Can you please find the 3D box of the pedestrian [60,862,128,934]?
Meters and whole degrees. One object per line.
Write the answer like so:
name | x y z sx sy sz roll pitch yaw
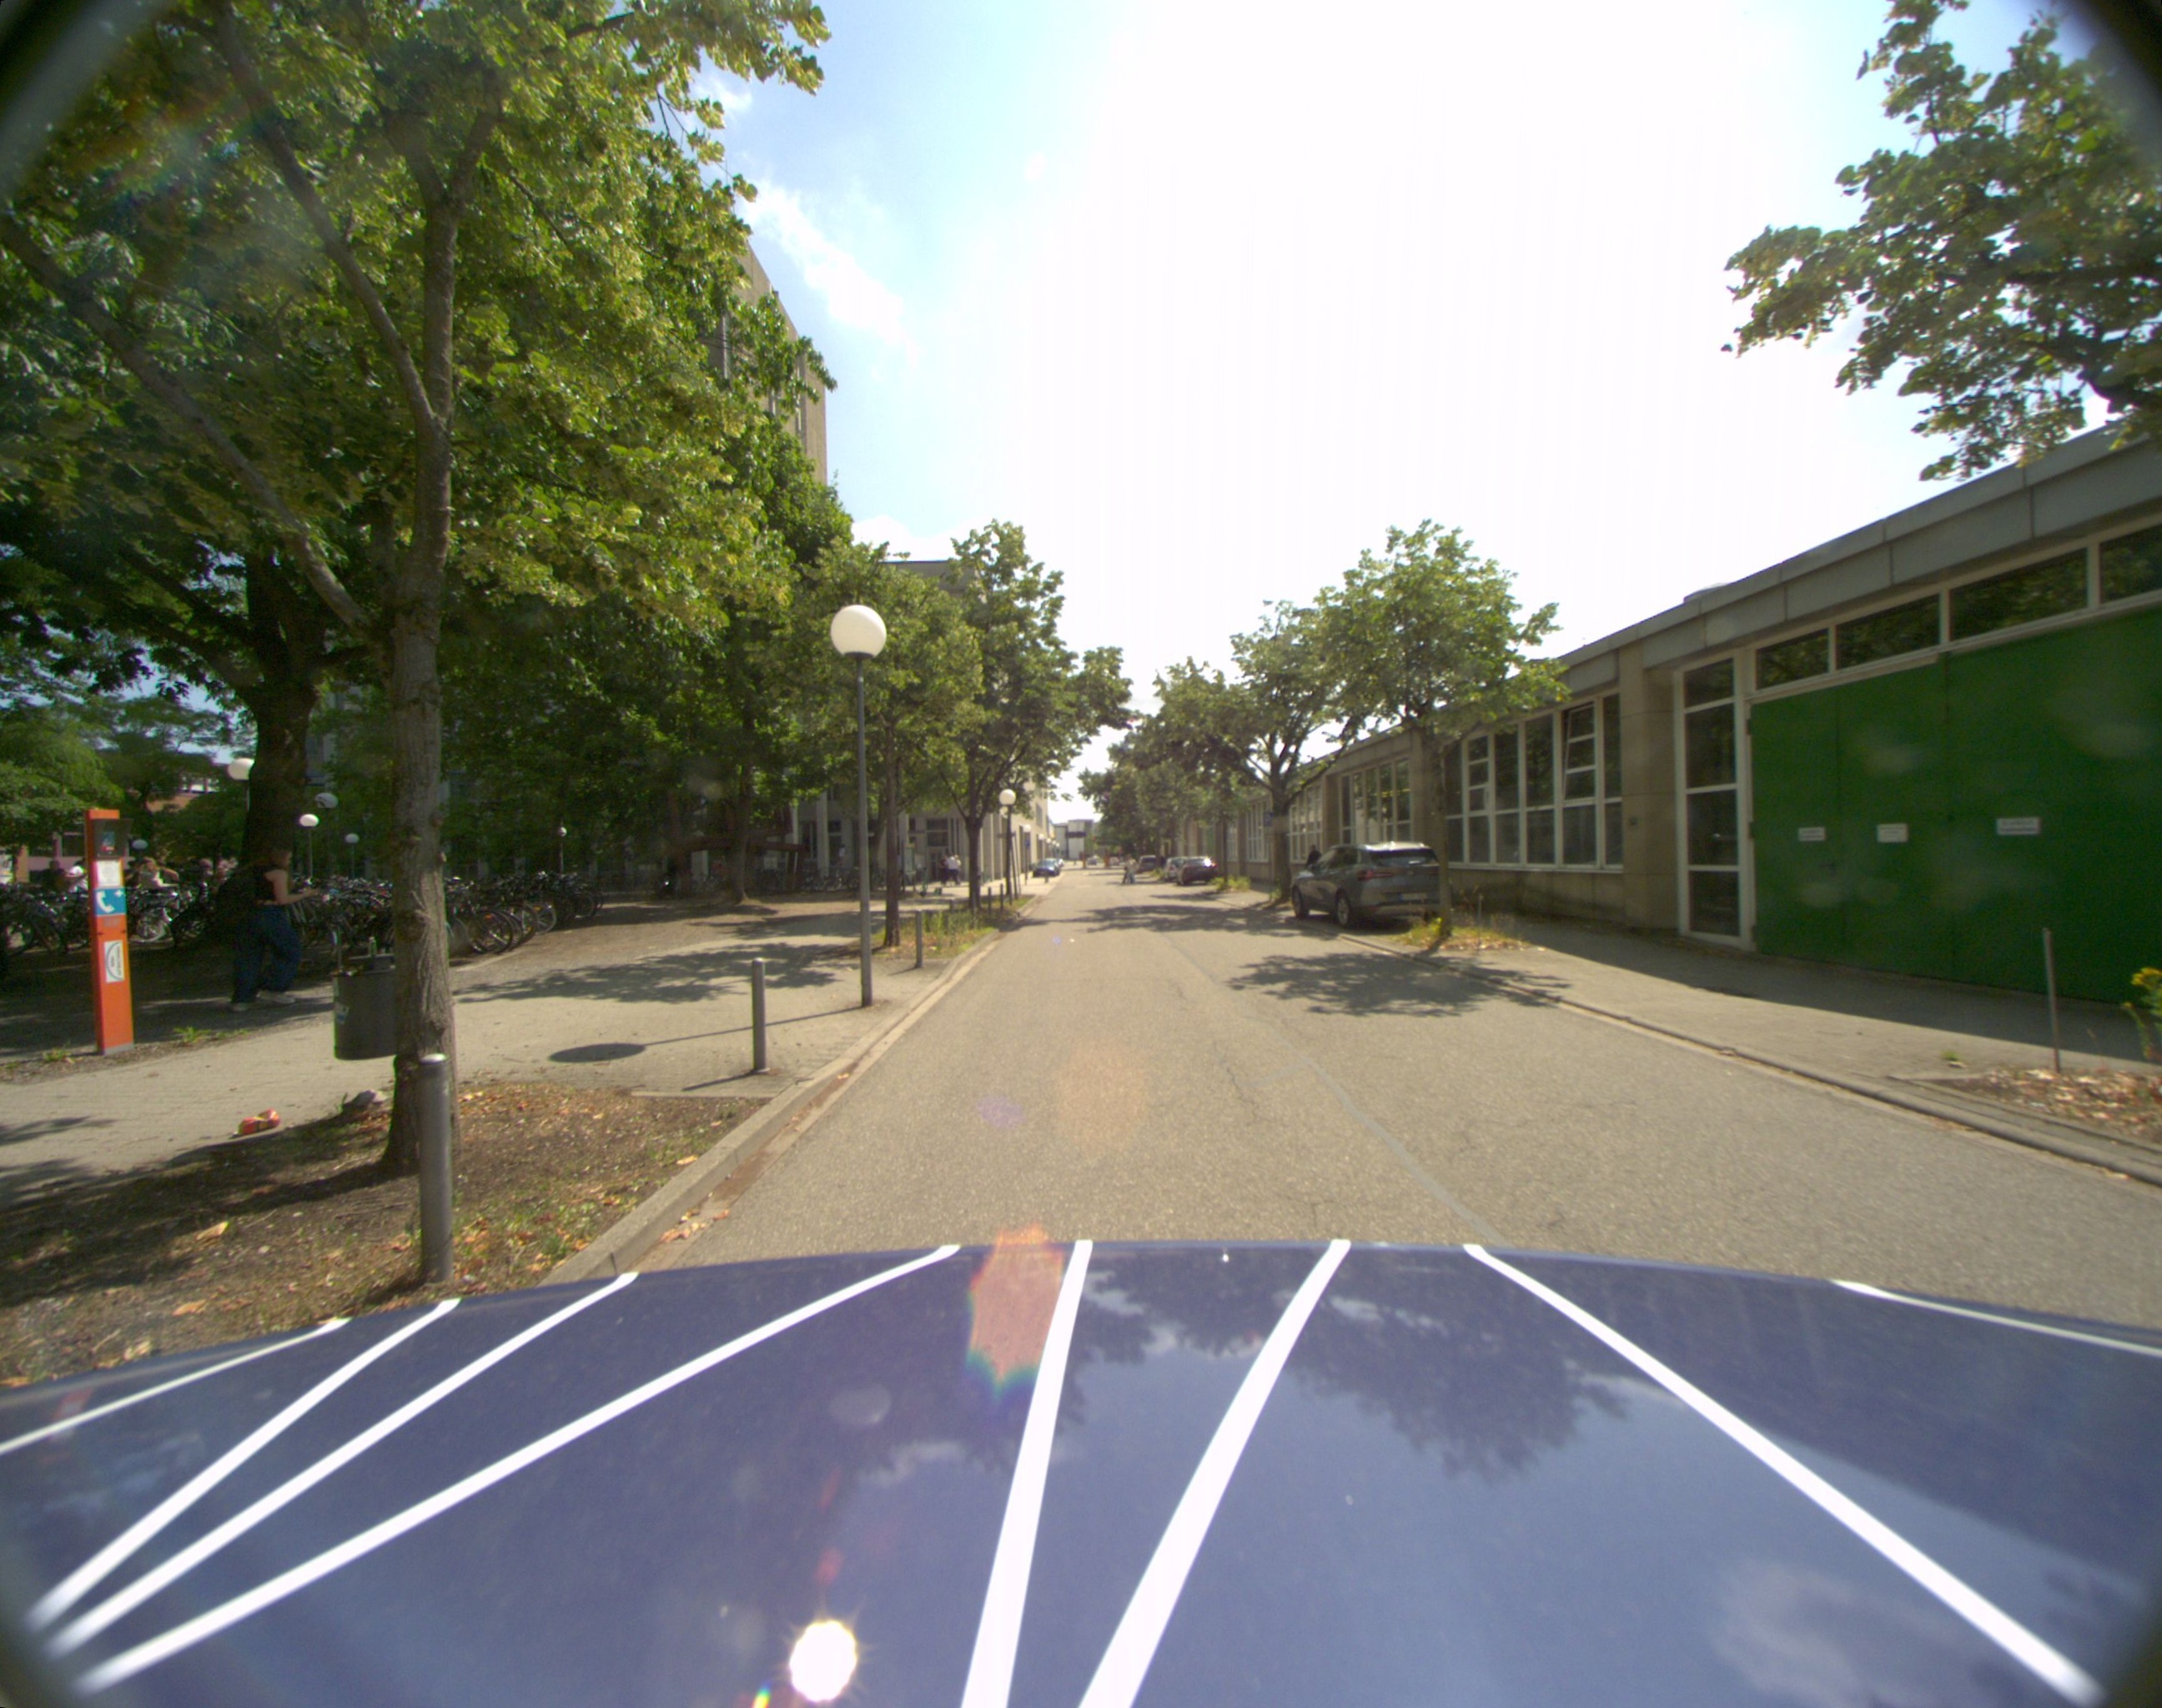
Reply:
pedestrian | -24.903 1.091 19.188 0.745 1.764 0.720 -1 0 -8

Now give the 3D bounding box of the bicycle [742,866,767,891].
bicycle | -15.717 1.173 36.573 0.628 1.143 1.695 -3 -1 -8

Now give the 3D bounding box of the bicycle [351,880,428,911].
bicycle | -23.479 1.392 25.826 1.908 0.973 0.477 0 1 -43

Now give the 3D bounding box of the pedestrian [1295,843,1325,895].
pedestrian | 7.989 0.520 26.521 0.790 1.776 0.670 -3 0 4

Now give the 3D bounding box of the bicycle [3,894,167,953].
bicycle | -18.345 1.263 14.044 1.888 0.973 0.305 0 1 -27

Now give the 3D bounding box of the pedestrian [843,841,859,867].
pedestrian | -15.887 -0.020 52.598 0.618 1.786 0.811 -1 1 33

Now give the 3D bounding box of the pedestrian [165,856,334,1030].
pedestrian | -8.020 0.814 7.375 0.570 1.562 0.927 0 1 1

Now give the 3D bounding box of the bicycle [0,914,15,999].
bicycle | -13.297 1.191 8.283 1.906 0.973 0.611 0 1 -21

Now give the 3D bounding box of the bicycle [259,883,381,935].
bicycle | -17.288 1.232 17.326 1.907 1.076 0.477 0 1 -36

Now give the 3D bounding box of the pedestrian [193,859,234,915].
pedestrian | -27.912 1.048 24.447 0.746 1.764 0.719 -1 0 -40

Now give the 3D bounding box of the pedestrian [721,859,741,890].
pedestrian | -20.260 1.162 43.967 0.938 1.730 0.748 -2 1 -19

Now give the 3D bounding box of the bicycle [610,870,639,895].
bicycle | -21.904 1.356 36.480 0.454 1.123 1.688 -4 -1 -4

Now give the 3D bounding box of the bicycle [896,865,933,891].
bicycle | -7.822 1.111 35.689 0.604 1.135 1.790 1 1 33

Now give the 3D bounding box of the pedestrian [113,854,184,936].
pedestrian | -20.707 0.901 16.879 0.743 1.764 0.722 -1 0 14

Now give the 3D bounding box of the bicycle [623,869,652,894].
bicycle | -21.320 1.321 36.530 0.454 1.123 1.688 -4 -1 -4

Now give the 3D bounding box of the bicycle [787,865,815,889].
bicycle | -13.486 1.125 36.686 0.565 1.118 1.697 0 -1 6

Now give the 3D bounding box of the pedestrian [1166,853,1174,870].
pedestrian | 8.403 0.682 71.569 0.605 1.571 0.551 1 0 -2

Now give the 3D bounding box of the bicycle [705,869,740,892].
bicycle | -17.189 1.259 36.471 0.617 1.041 1.697 -4 -1 8

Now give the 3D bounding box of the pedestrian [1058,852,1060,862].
pedestrian | -3.493 0.472 120.574 0.383 1.620 0.519 2 0 1

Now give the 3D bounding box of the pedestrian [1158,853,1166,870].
pedestrian | 7.622 0.714 71.698 0.604 1.571 0.552 1 0 31

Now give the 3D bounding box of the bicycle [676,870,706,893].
bicycle | -18.644 1.306 36.385 0.617 1.041 1.688 -4 -1 -4

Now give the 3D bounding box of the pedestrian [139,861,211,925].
pedestrian | -25.866 1.089 21.716 0.964 1.764 0.971 -1 0 -21

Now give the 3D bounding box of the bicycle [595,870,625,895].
bicycle | -22.474 1.337 36.292 0.454 1.123 1.688 -4 -1 -4

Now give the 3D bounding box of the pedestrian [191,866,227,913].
pedestrian | -33.250 1.353 28.973 0.719 1.764 0.746 -1 0 26

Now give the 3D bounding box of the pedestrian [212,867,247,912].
pedestrian | -33.821 1.403 30.176 0.810 1.764 0.856 -1 0 37

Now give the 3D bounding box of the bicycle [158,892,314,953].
bicycle | -15.670 1.245 14.155 0.477 0.973 1.908 0 1 42

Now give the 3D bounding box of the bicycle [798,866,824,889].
bicycle | -12.983 1.126 36.523 0.481 1.118 1.697 0 -1 6

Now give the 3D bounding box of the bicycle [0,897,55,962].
bicycle | -17.316 1.178 11.586 1.907 0.973 0.535 0 1 -34

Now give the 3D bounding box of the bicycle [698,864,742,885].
bicycle | -19.502 1.124 41.066 1.929 1.036 0.818 -1 4 4

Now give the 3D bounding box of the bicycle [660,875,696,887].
bicycle | -26.806 1.815 50.539 1.989 0.755 0.644 0 -1 -2

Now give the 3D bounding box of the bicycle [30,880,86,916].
bicycle | -28.501 1.209 21.194 0.588 0.926 1.747 2 -1 -42

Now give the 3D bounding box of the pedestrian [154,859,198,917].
pedestrian | -28.521 1.063 23.956 0.746 1.764 0.719 -1 0 -40

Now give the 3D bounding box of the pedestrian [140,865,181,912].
pedestrian | -35.312 1.318 29.148 0.989 1.764 0.844 -1 0 30

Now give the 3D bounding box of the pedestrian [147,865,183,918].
pedestrian | -31.538 1.285 26.158 0.719 1.764 0.746 -1 0 38

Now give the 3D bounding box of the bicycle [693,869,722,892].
bicycle | -17.926 1.277 36.462 0.617 1.041 1.688 -4 -1 -4

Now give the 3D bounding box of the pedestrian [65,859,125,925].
pedestrian | -26.995 1.029 20.816 0.746 1.764 0.719 -1 0 -25

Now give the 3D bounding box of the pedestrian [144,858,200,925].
pedestrian | -24.351 0.990 20.374 0.746 1.764 0.719 -1 0 -31

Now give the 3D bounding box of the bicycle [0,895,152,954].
bicycle | -18.123 1.247 13.596 1.906 0.973 0.441 0 1 -23

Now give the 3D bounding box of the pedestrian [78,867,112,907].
pedestrian | -37.673 1.244 29.042 0.693 1.503 0.513 2 0 -43

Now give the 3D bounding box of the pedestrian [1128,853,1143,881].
pedestrian | 2.997 0.727 42.059 0.797 1.533 0.664 -1 0 2

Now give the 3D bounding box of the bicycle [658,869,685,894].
bicycle | -19.823 1.319 36.791 0.454 1.123 1.688 -4 -1 -4

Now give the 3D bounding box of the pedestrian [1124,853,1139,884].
pedestrian | 2.816 0.814 42.769 0.797 1.718 0.601 -1 0 2

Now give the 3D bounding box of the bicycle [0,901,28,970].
bicycle | -16.580 1.194 10.761 1.906 0.973 0.611 0 1 -21

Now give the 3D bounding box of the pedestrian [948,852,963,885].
pedestrian | -7.219 0.838 43.791 0.687 1.880 0.686 -2 2 -2

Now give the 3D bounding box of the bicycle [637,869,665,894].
bicycle | -20.671 1.316 36.578 0.454 1.123 1.688 -4 -1 -4

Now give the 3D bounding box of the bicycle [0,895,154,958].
bicycle | -17.322 1.220 12.928 1.907 0.973 0.477 0 1 -30

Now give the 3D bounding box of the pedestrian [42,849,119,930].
pedestrian | -22.517 0.781 17.122 0.745 1.764 0.720 -1 0 -8

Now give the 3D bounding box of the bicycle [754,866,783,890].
bicycle | -15.040 1.142 36.578 0.627 1.143 1.697 0 -1 2

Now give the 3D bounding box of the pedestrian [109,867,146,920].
pedestrian | -32.029 1.311 25.529 0.719 1.764 0.746 -1 0 38

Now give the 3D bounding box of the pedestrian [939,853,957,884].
pedestrian | -7.836 0.837 44.757 0.811 1.786 0.618 -2 1 -43

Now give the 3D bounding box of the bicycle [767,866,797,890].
bicycle | -14.327 1.135 36.431 0.627 1.118 1.697 0 -1 6

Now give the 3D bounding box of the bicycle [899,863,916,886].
bicycle | -10.169 1.192 44.540 0.531 1.235 1.829 -1 1 0

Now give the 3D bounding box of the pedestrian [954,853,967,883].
pedestrian | -7.111 0.812 44.787 0.613 1.719 0.542 -1 1 2
